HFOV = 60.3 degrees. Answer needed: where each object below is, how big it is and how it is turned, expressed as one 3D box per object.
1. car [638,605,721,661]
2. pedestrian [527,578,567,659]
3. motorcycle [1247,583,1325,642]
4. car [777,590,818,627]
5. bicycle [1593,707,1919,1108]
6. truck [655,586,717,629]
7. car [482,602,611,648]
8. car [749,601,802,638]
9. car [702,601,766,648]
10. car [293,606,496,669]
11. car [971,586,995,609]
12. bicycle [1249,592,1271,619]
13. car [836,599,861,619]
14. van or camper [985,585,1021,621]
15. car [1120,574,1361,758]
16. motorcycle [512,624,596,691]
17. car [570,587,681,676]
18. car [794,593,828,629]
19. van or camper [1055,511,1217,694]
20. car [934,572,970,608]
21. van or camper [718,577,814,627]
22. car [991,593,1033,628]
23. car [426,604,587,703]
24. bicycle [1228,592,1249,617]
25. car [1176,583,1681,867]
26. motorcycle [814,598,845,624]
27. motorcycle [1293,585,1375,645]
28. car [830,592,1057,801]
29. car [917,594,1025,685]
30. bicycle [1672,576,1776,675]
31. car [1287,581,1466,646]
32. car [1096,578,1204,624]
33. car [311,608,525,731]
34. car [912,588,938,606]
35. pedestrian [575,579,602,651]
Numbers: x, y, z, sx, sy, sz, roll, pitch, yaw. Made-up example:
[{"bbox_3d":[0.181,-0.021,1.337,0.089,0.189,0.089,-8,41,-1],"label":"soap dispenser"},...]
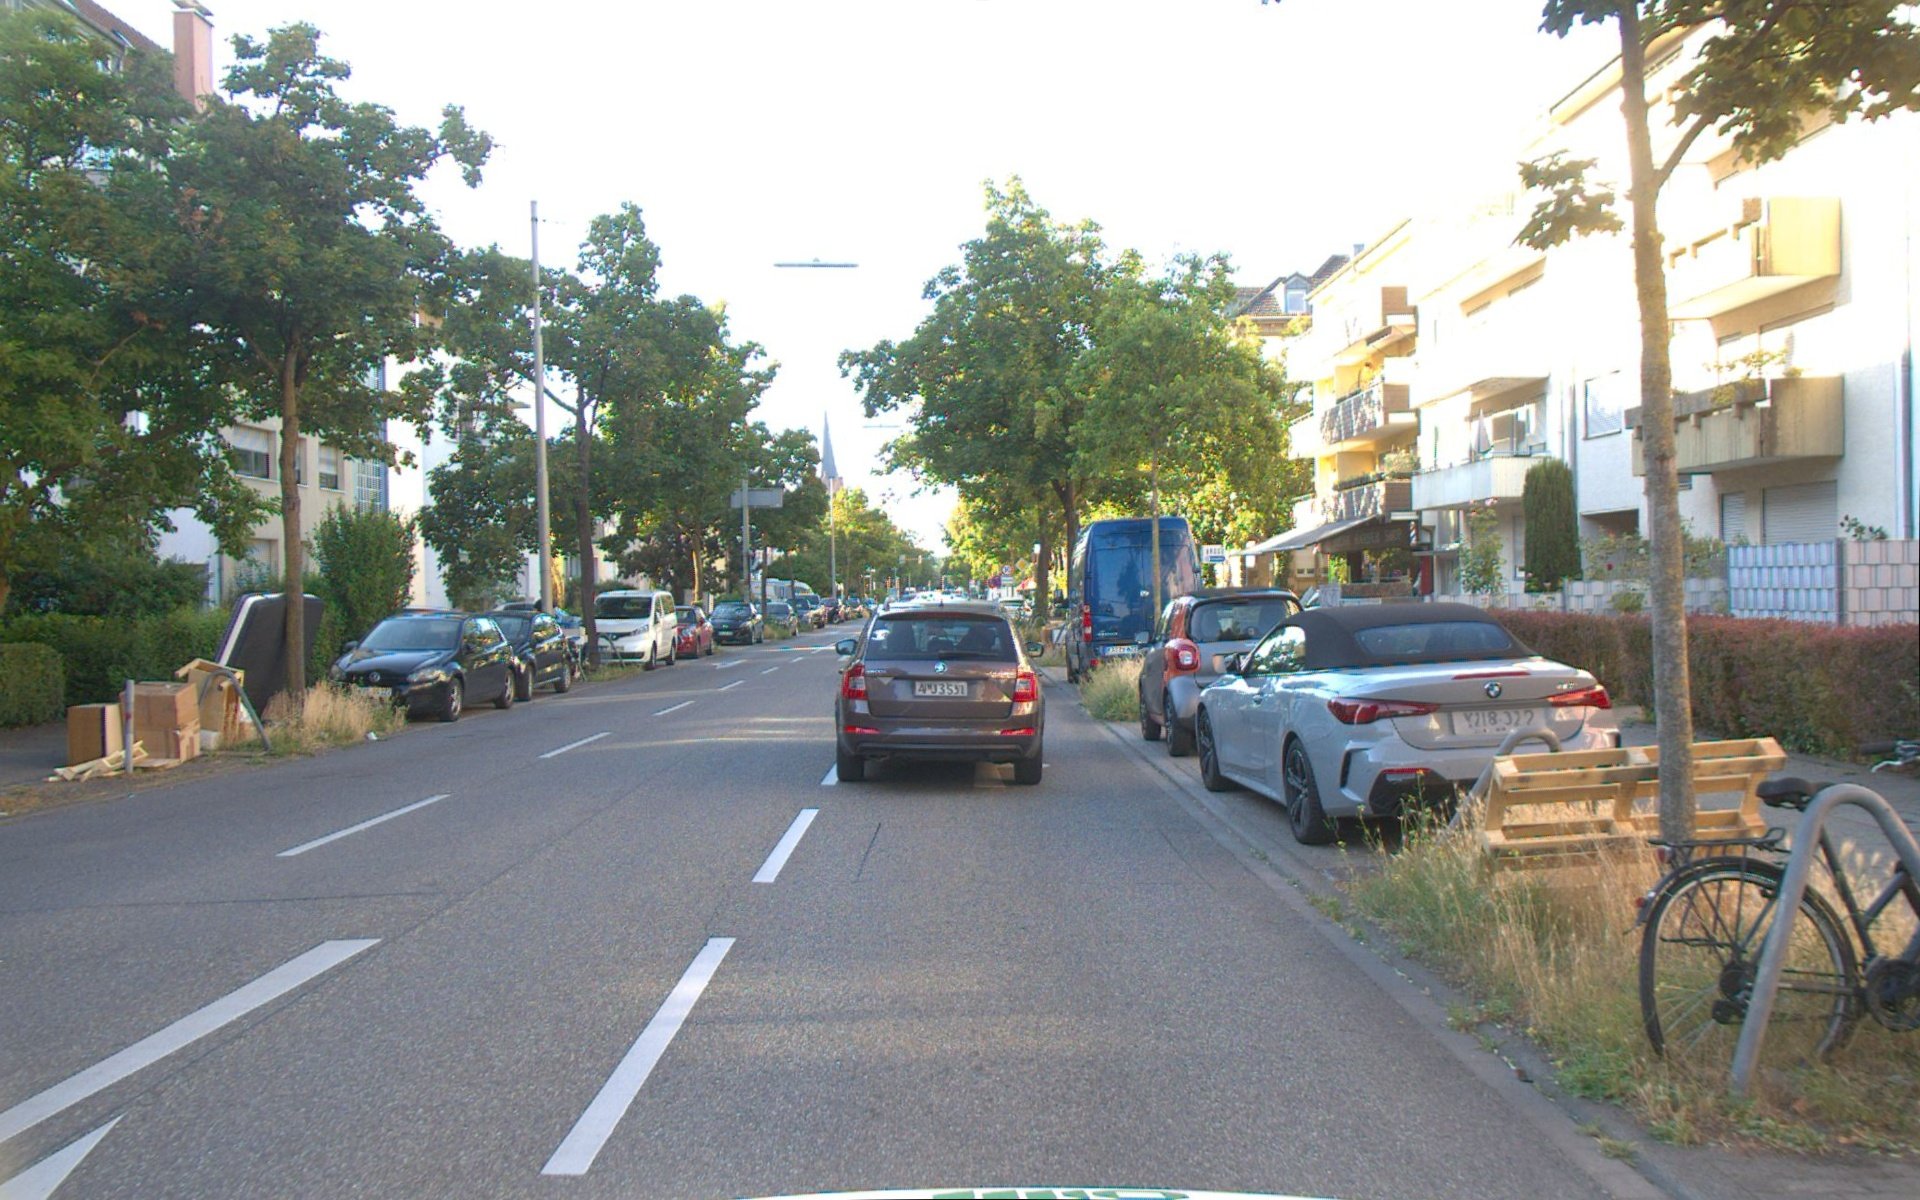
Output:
[{"bbox_3d":[-7.889,0.901,46.741,1.682,1.445,3.786,-1,1,0],"label":"car"},{"bbox_3d":[-10.662,0.473,42.745,0.751,2.049,0.976,-1,0,-1],"label":"pedestrian"},{"bbox_3d":[9.402,0.358,47.765,2.148,1.649,0.731,-1,0,6],"label":"motorcycle"},{"bbox_3d":[-8.170,0.417,83.421,1.714,1.771,3.591,-1,1,0],"label":"car"},{"bbox_3d":[2.731,0.904,5.127,1.451,1.077,0.410,-1,0,-14],"label":"bicycle"},{"bbox_3d":[-14.034,0.374,84.816,2.854,2.130,1.546,-1,0,-1],"label":"truck"},{"bbox_3d":[-13.912,0.826,55.763,3.908,1.505,1.998,0,0,-4],"label":"car"},{"bbox_3d":[-7.803,0.810,70.241,1.718,1.445,4.426,-1,1,0],"label":"car"},{"bbox_3d":[-8.000,0.848,58.820,1.682,1.523,4.247,-1,1,0],"label":"car"},{"bbox_3d":[-14.166,0.919,41.720,4.630,1.386,1.993,-1,1,-14],"label":"car"},{"bbox_3d":[1.835,-0.211,133.275,1.694,1.847,3.949,-1,1,-2],"label":"car"},{"bbox_3d":[11.374,0.210,62.729,0.335,0.967,1.580,-3,0,-6],"label":"bicycle"},{"bbox_3d":[-8.384,0.675,124.824,1.630,1.457,3.275,-1,1,-1],"label":"car"},{"bbox_3d":[2.505,0.140,97.492,1.953,2.049,4.000,-1,1,0],"label":"van or camper"},{"bbox_3d":[2.792,0.622,17.265,1.737,1.671,3.755,-1,0,-2],"label":"car"},{"bbox_3d":[-7.917,1.103,32.292,0.433,1.212,1.700,-1,1,37],"label":"motorcycle"},{"bbox_3d":[-7.919,0.696,39.519,1.733,1.952,4.459,-1,1,0],"label":"car"},{"bbox_3d":[-7.922,0.557,88.090,1.476,1.788,3.693,-1,1,0],"label":"car"},{"bbox_3d":[2.826,0.058,27.944,2.025,2.722,5.989,-1,0,0],"label":"van or camper"},{"bbox_3d":[-0.375,-0.480,80.122,1.697,1.680,3.541,-1,1,0],"label":"car"},{"bbox_3d":[-15.746,0.143,134.547,7.487,3.942,1.999,-1,0,-2],"label":"van or camper"},{"bbox_3d":[2.286,0.427,73.351,1.783,1.438,4.112,-1,1,2],"label":"car"},{"bbox_3d":[-7.868,0.880,29.057,1.714,1.529,3.978,-1,1,0],"label":"car"},{"bbox_3d":[10.659,0.172,63.315,0.335,0.967,1.580,2,0,-6],"label":"bicycle"},{"bbox_3d":[2.902,0.658,11.472,1.882,1.512,4.742,-1,1,-4],"label":"car"},{"bbox_3d":[-7.785,0.660,98.452,0.760,1.538,1.998,-1,1,-42],"label":"motorcycle"},{"bbox_3d":[10.580,0.427,46.868,2.148,1.649,0.890,-1,0,6],"label":"motorcycle"},{"bbox_3d":[-0.090,0.719,14.473,1.694,1.520,3.951,-1,1,1],"label":"car"},{"bbox_3d":[0.140,0.682,30.735,1.695,1.520,3.948,-1,1,-4],"label":"car"},{"bbox_3d":[9.031,0.281,19.607,0.482,1.108,1.544,-1,1,-1],"label":"bicycle"},{"bbox_3d":[10.244,0.312,40.875,3.908,1.487,1.823,-1,1,-4],"label":"car"},{"bbox_3d":[8.455,0.042,73.595,4.481,1.926,1.897,-1,0,-28],"label":"car"},{"bbox_3d":[-7.764,0.936,24.112,1.714,1.529,4.196,-1,1,0],"label":"car"},{"bbox_3d":[-3.596,-0.322,172.087,1.836,1.788,4.182,-1,1,11],"label":"car"},{"bbox_3d":[-10.708,0.433,47.704,0.614,2.049,0.616,-1,0,-1],"label":"pedestrian"}]
